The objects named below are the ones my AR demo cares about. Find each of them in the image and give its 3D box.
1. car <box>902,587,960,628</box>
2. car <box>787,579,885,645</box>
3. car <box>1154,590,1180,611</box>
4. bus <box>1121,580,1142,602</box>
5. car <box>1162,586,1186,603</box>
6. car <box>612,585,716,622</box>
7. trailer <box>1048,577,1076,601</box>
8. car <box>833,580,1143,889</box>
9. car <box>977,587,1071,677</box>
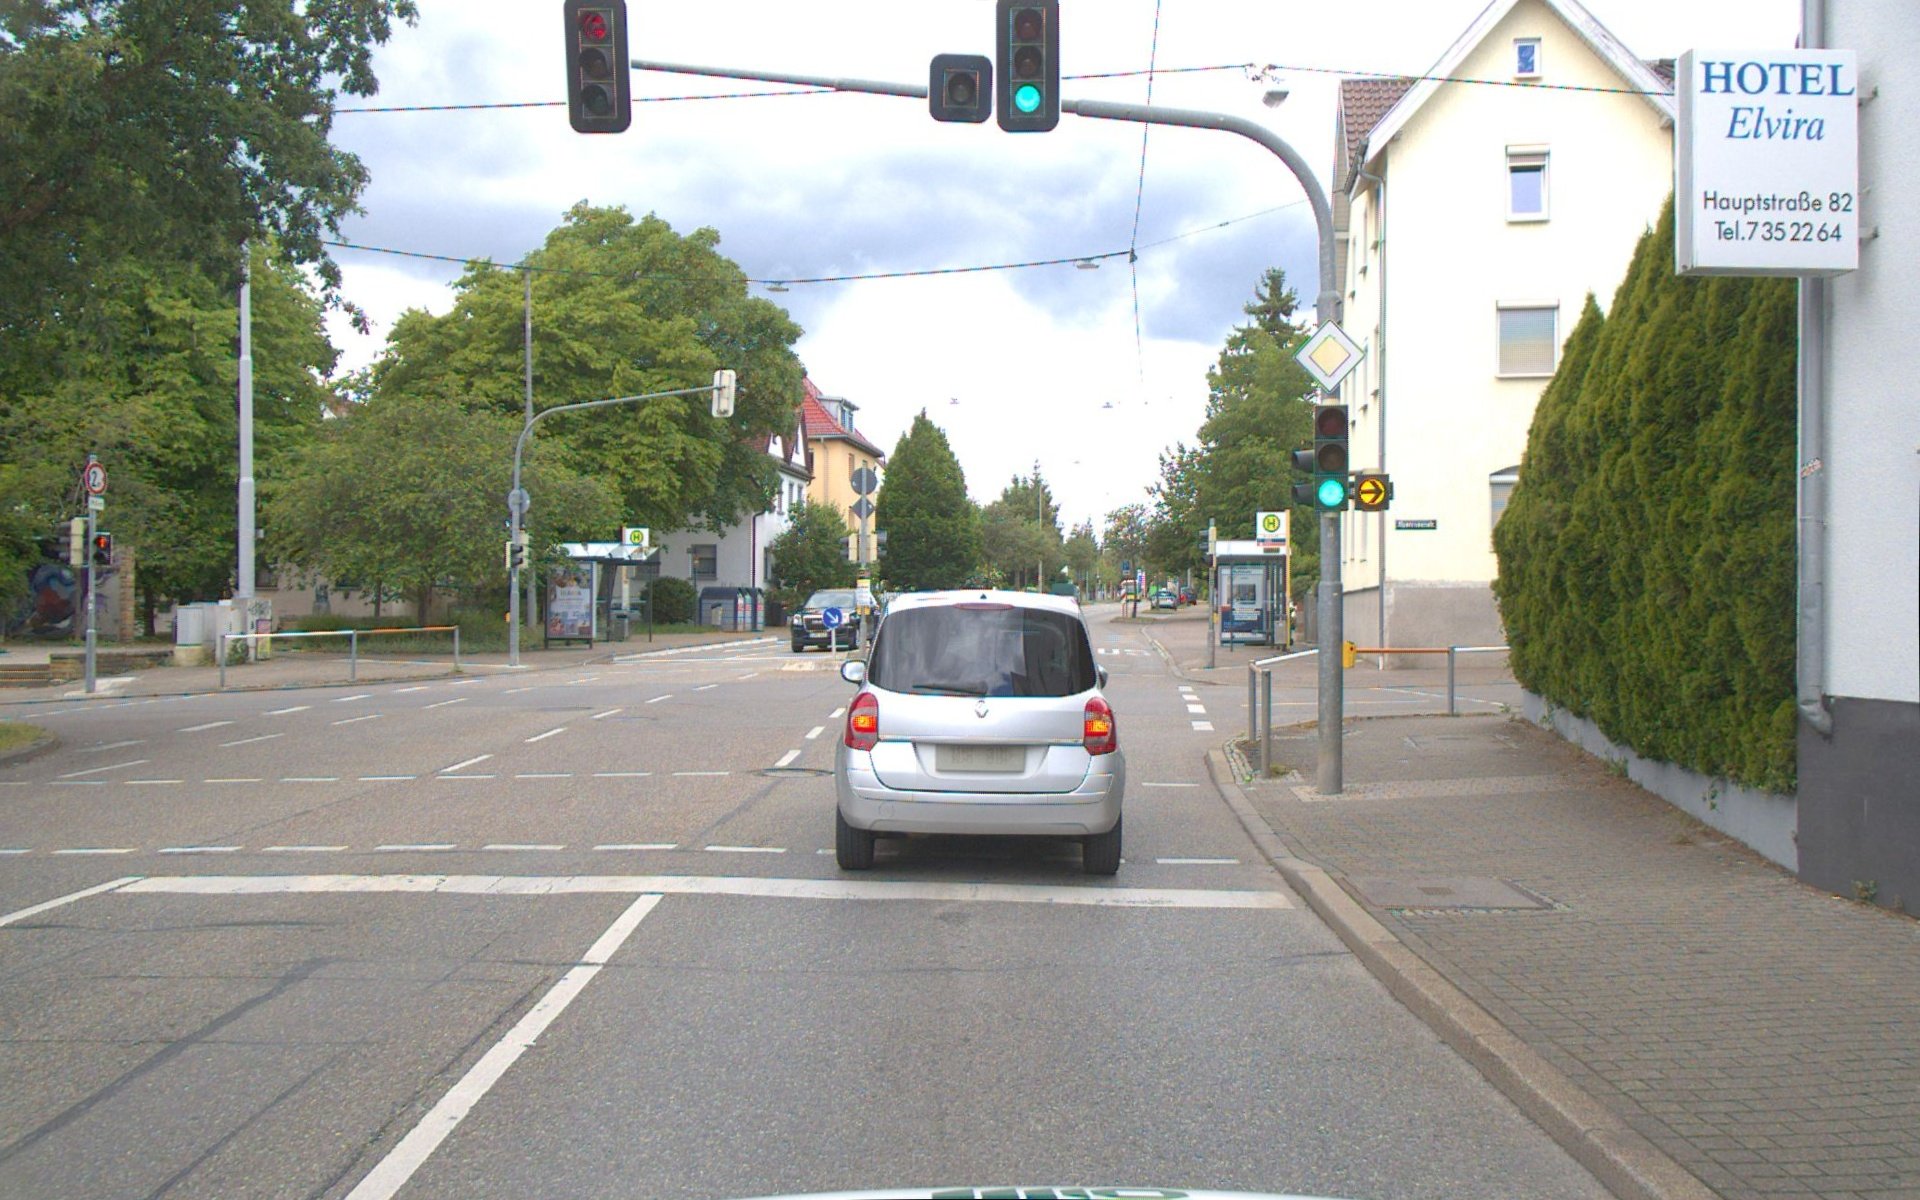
[{"bbox_3d":[-1.022,0.293,61.111,1.530,1.445,4.133,0,-1,8],"label":"car"},{"bbox_3d":[-3.377,0.349,46.015,1.720,1.663,4.598,-2,-1,8],"label":"car"},{"bbox_3d":[14.559,0.036,116.409,1.615,1.406,4.003,0,-1,10],"label":"car"},{"bbox_3d":[25.436,-1.399,245.264,2.576,3.140,12.079,-2,0,8],"label":"bus"},{"bbox_3d":[17.501,-0.454,135.177,1.627,1.417,3.671,0,0,11],"label":"car"},{"bbox_3d":[-12.324,0.157,68.986,3.902,1.355,1.723,-2,-1,7],"label":"car"},{"bbox_3d":[9.739,-1.020,157.442,2.263,2.123,5.877,1,0,8],"label":"trailer"},{"bbox_3d":[0.189,0.724,10.703,1.596,1.584,4.000,1,0,1],"label":"car"},{"bbox_3d":[1.301,0.615,33.425,1.791,1.705,3.575,0,0,2],"label":"car"}]
